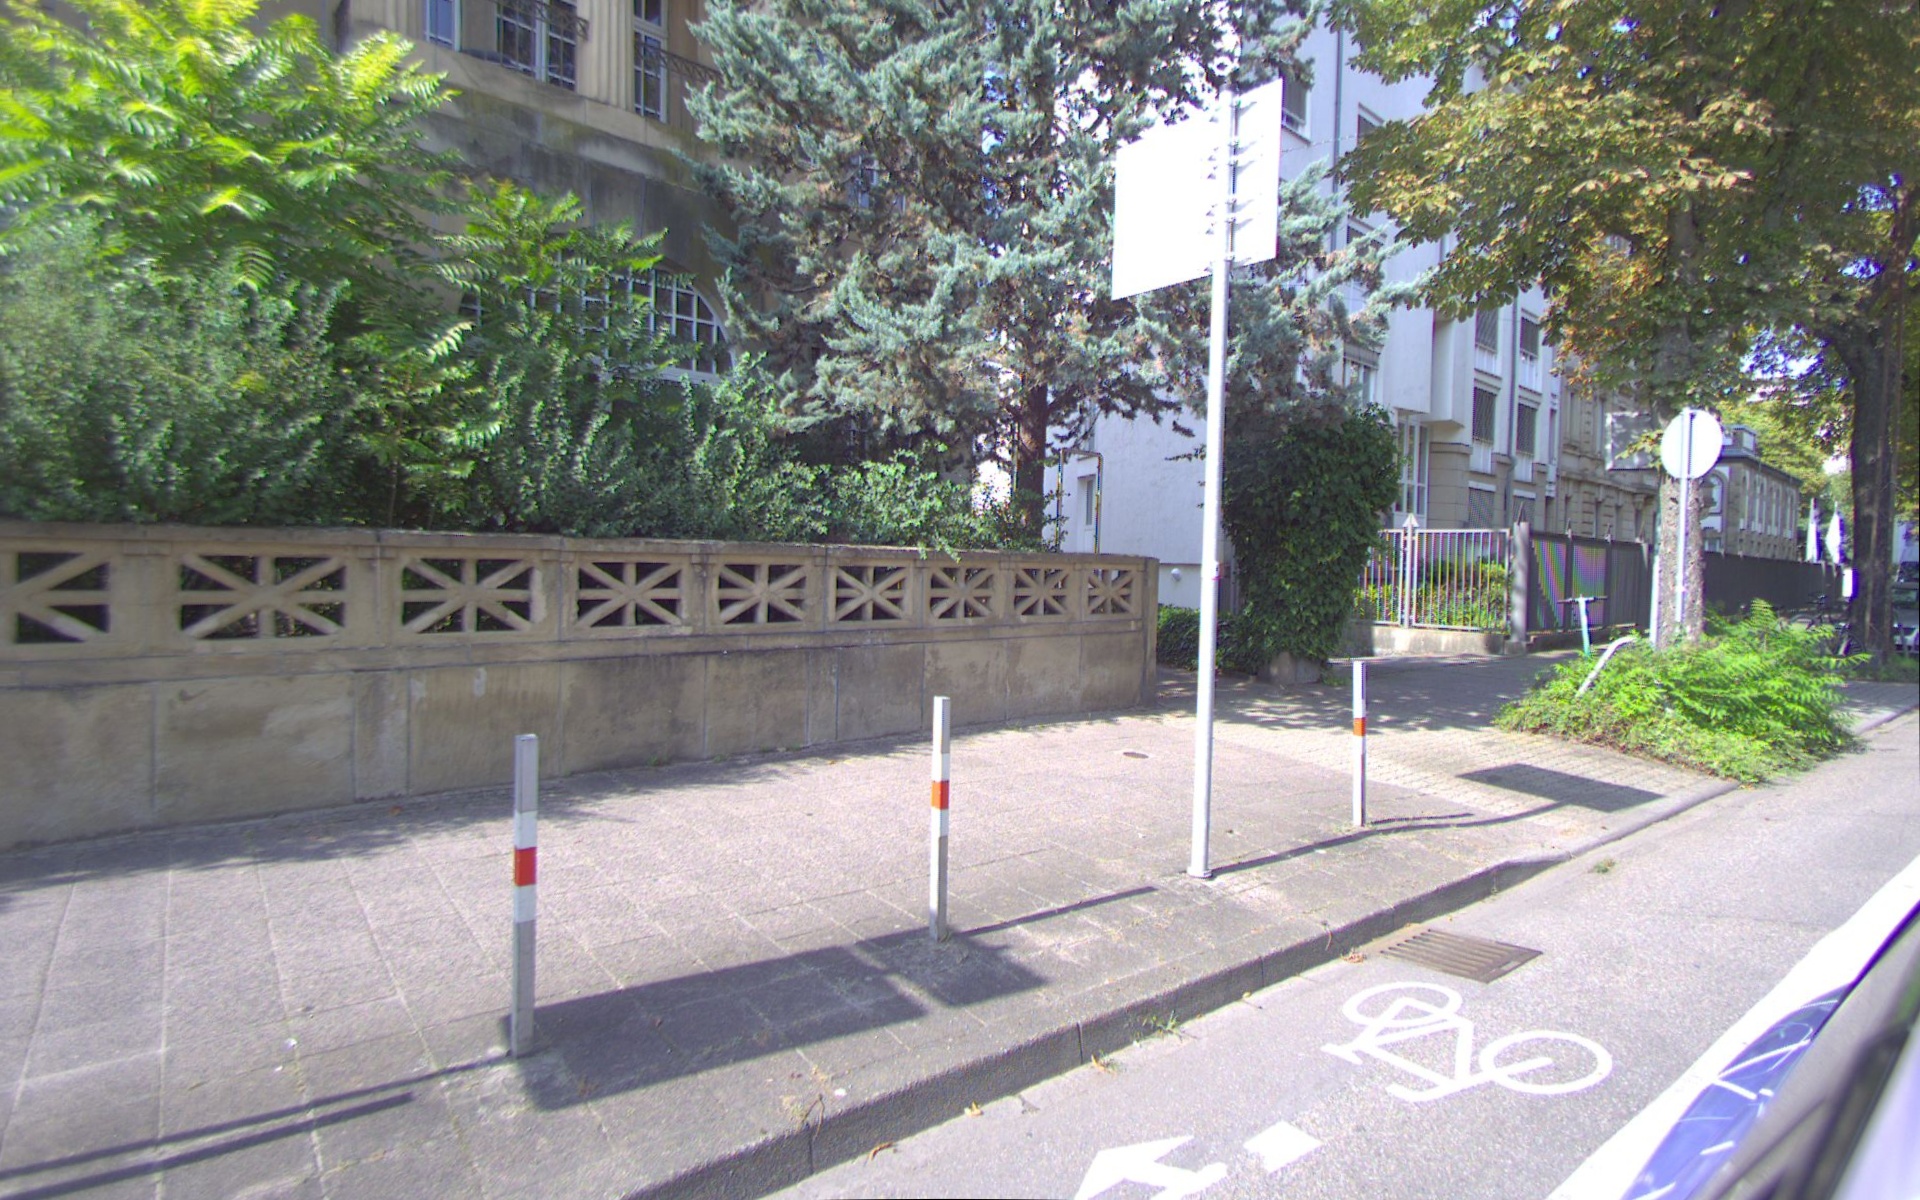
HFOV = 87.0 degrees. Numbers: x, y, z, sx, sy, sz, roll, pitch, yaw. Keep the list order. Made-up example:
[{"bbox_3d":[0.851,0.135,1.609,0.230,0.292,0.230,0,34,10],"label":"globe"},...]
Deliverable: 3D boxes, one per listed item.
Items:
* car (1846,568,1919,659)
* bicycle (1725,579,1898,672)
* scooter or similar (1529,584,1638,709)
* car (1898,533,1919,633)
[{"bbox_3d":[18.456,0.234,19.424,4.283,1.541,1.610,-1,6,-42],"label":"car"},{"bbox_3d":[12.439,0.359,14.825,1.812,1.178,0.504,4,8,9],"label":"bicycle"},{"bbox_3d":[6.622,0.463,10.739,1.015,1.211,0.560,-1,6,-37],"label":"scooter or similar"},{"bbox_3d":[27.001,-0.428,27.177,6.122,2.529,2.049,-1,3,-42],"label":"car"}]
